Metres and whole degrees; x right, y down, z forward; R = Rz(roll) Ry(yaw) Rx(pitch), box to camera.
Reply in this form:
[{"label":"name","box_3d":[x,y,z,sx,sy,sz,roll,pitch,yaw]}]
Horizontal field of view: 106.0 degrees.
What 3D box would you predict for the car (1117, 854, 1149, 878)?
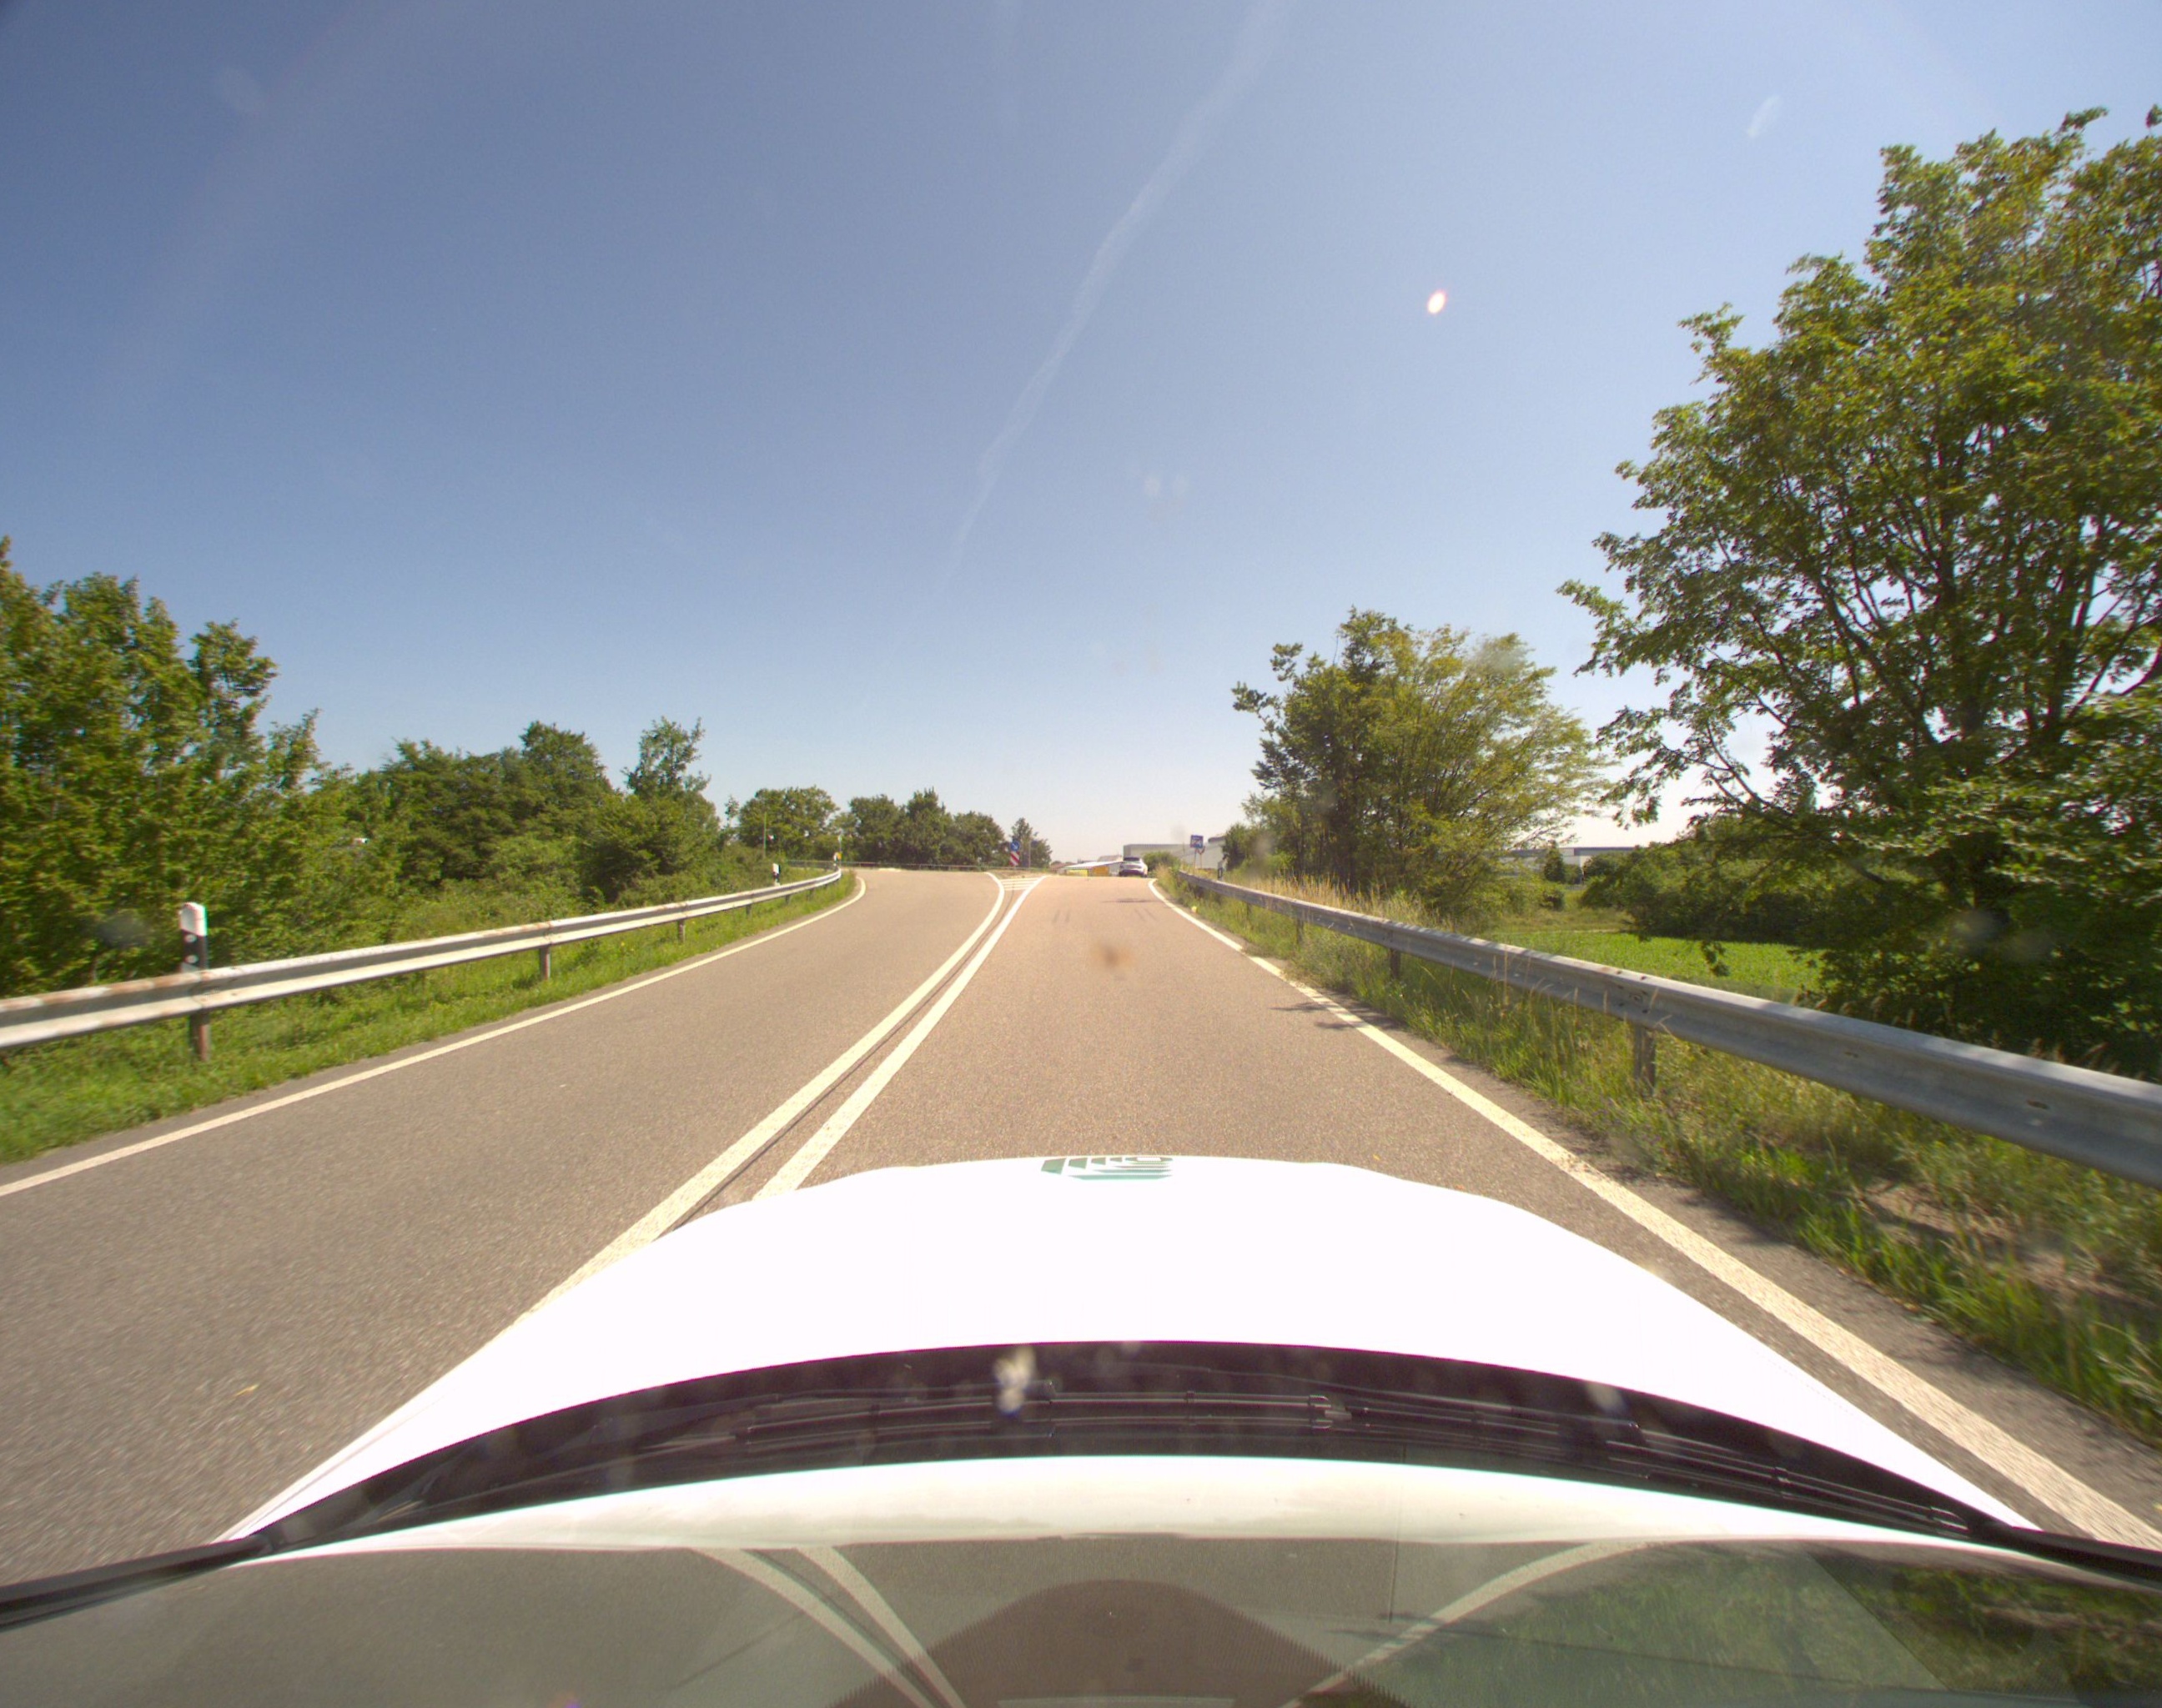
[{"label":"car","box_3d":[3.860,0.902,60.200,1.797,1.691,4.011,2,-2,11]}]
